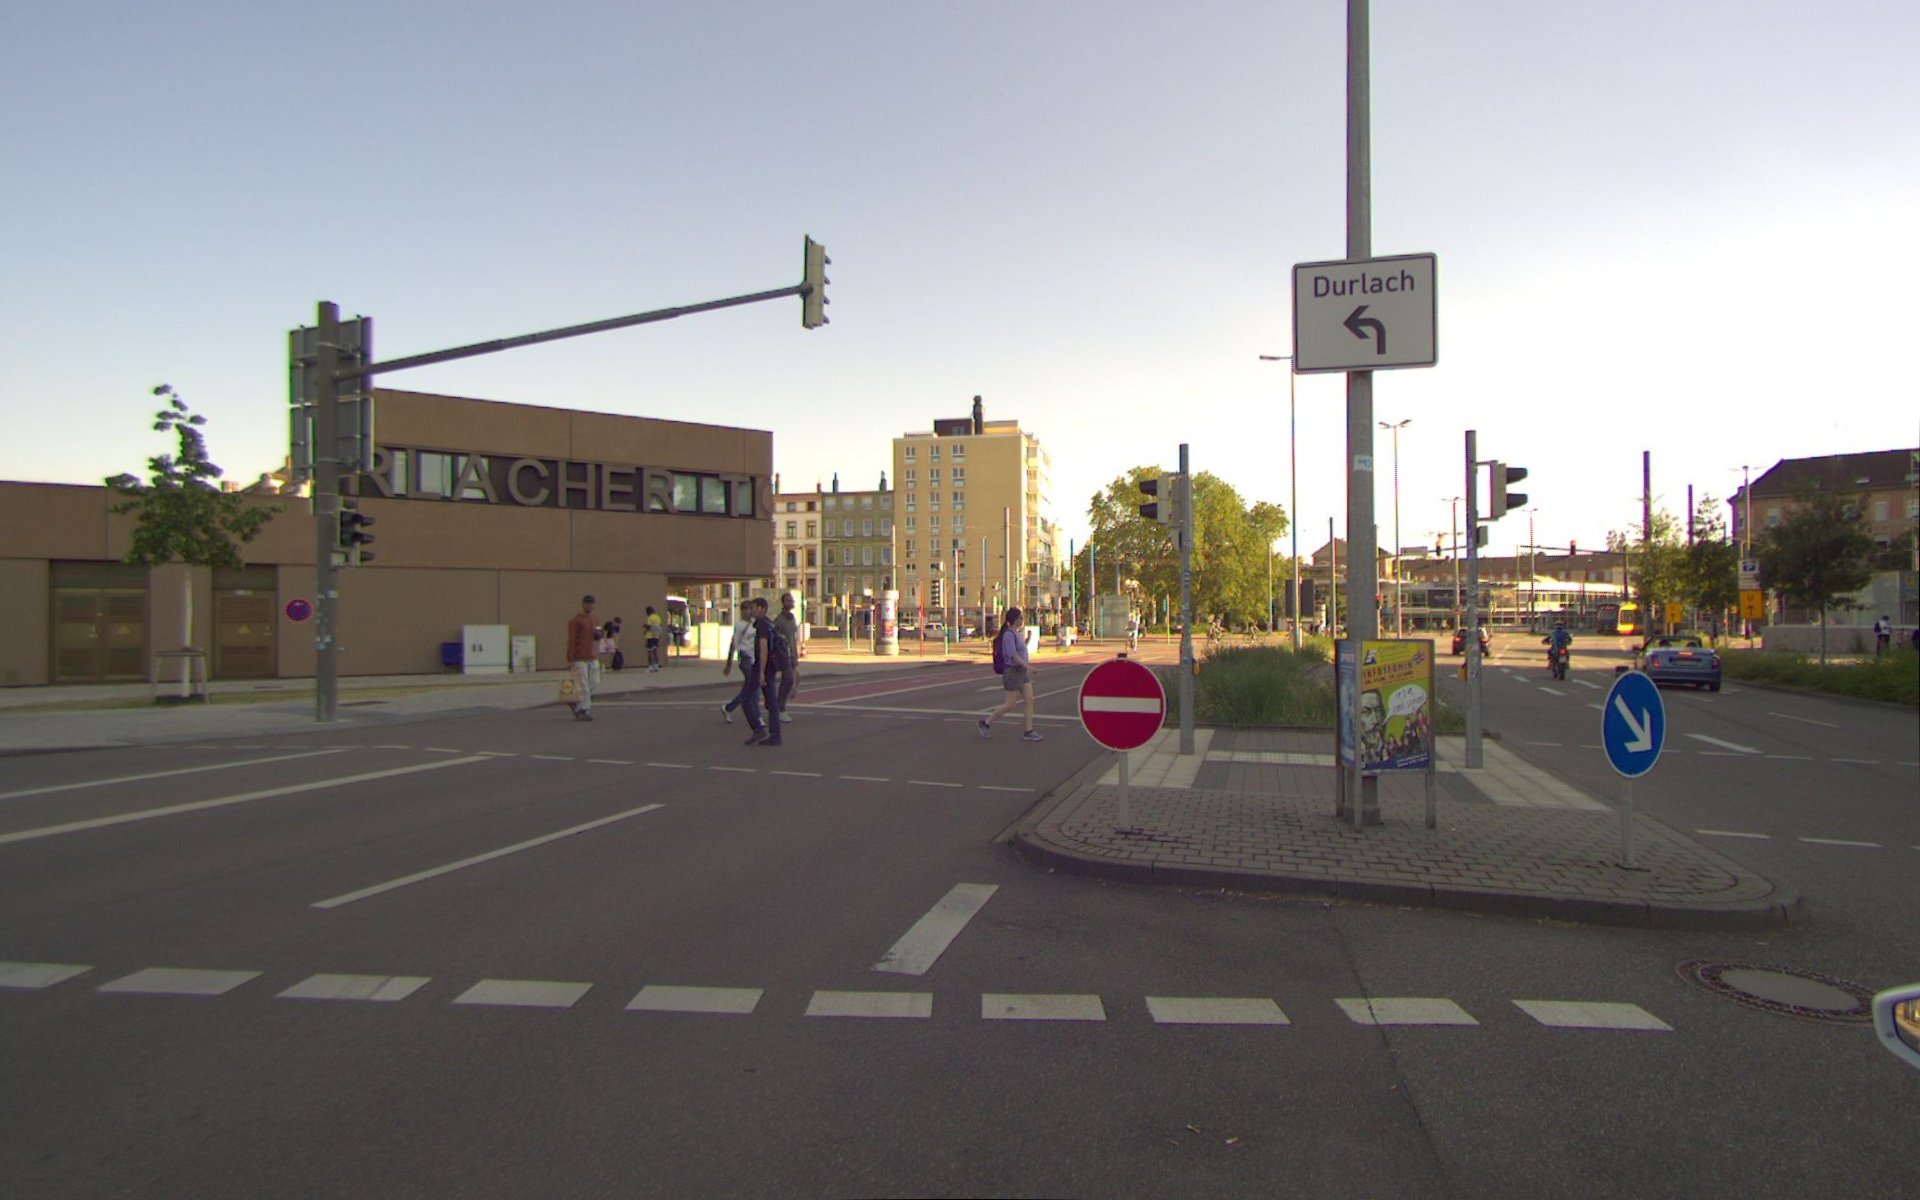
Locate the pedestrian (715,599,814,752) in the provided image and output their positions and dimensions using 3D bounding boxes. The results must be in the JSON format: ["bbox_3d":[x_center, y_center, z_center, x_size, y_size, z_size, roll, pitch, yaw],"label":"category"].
[{"bbox_3d":[-2.273,0.851,11.723,0.882,1.707,0.748,-1,-1,20],"label":"pedestrian"}]

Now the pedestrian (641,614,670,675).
[{"bbox_3d":[-8.733,1.264,28.806,0.630,1.711,0.547,1,1,43],"label":"pedestrian"}]

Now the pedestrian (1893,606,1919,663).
[{"bbox_3d":[29.268,1.043,30.686,0.793,1.680,0.790,-3,-1,21],"label":"pedestrian"}]

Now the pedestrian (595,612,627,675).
[{"bbox_3d":[-9.883,1.217,28.444,0.658,1.754,0.729,-1,1,-35],"label":"pedestrian"}]

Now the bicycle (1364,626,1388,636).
[{"bbox_3d":[42.664,3.216,102.996,2.261,0.972,0.859,-2,1,27],"label":"bicycle"}]

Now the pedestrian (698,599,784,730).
[{"bbox_3d":[-3.048,0.880,14.036,0.909,1.764,0.757,-1,-1,20],"label":"pedestrian"}]

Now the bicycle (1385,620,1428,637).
[{"bbox_3d":[46.624,2.973,104.990,3.919,1.713,1.139,0,1,12],"label":"bicycle"}]

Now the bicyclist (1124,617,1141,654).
[{"bbox_3d":[8.650,1.767,50.380,0.727,1.856,1.014,0,-2,18],"label":"bicyclist"}]

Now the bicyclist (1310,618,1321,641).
[{"bbox_3d":[26.301,2.185,74.321,0.638,1.713,0.860,0,1,11],"label":"bicyclist"}]

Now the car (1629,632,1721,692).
[{"bbox_3d":[19.697,1.648,27.801,1.775,1.463,3.969,1,-1,32],"label":"car"}]

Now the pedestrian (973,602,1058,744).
[{"bbox_3d":[0.728,0.919,13.008,0.909,1.764,0.757,-1,-1,20],"label":"pedestrian"}]

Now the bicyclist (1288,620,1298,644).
[{"bbox_3d":[25.295,2.422,76.230,0.638,1.713,0.860,0,1,13],"label":"bicyclist"}]

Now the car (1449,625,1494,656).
[{"bbox_3d":[26.040,2.008,51.072,1.774,1.463,3.970,1,-1,30],"label":"car"}]

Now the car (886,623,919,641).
[{"bbox_3d":[-6.239,3.420,108.617,2.061,1.742,3.980,-1,1,-28],"label":"car"}]

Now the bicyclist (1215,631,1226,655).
[{"bbox_3d":[19.600,3.221,75.531,0.732,1.713,0.860,0,1,9],"label":"bicyclist"}]

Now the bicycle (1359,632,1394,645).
[{"bbox_3d":[30.247,2.795,72.914,2.257,0.918,0.860,0,1,15],"label":"bicycle"}]

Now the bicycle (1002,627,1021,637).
[{"bbox_3d":[5.838,3.637,114.302,2.007,1.105,0.778,-1,-1,11],"label":"bicycle"}]

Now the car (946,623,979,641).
[{"bbox_3d":[0.261,3.399,107.049,1.818,1.772,3.967,-1,1,-31],"label":"car"}]

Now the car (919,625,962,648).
[{"bbox_3d":[-1.782,3.401,94.257,3.670,2.041,2.001,0,1,11],"label":"car"}]

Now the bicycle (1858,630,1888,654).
[{"bbox_3d":[40.726,1.873,44.809,0.780,1.052,1.955,-3,-4,38],"label":"bicycle"}]

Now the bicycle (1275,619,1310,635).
[{"bbox_3d":[25.207,2.027,76.246,2.450,1.148,0.860,0,1,13],"label":"bicycle"}]

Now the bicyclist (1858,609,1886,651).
[{"bbox_3d":[40.680,1.341,44.794,0.777,1.809,0.890,-3,-3,38],"label":"bicyclist"}]

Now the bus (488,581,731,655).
[{"bbox_3d":[-18.792,1.164,54.644,12.063,3.359,3.221,3,-6,-34],"label":"bus"}]

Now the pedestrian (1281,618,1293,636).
[{"bbox_3d":[34.273,2.822,105.264,0.974,1.841,0.918,0,1,29],"label":"pedestrian"}]

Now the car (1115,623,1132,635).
[{"bbox_3d":[20.979,3.744,128.704,1.815,1.471,4.002,0,-1,14],"label":"car"}]

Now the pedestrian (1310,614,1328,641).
[{"bbox_3d":[22.847,1.770,63.973,0.814,1.694,0.698,0,-1,-9],"label":"pedestrian"}]

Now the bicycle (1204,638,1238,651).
[{"bbox_3d":[19.605,3.362,75.527,2.450,0.886,0.860,0,1,9],"label":"bicycle"}]

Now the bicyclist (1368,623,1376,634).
[{"bbox_3d":[42.346,2.934,103.148,0.701,1.158,0.836,0,1,27],"label":"bicyclist"}]

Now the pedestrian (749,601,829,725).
[{"bbox_3d":[-2.512,0.912,14.812,0.909,1.764,0.757,-1,-1,20],"label":"pedestrian"}]

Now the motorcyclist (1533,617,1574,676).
[{"bbox_3d":[18.193,1.414,30.787,1.080,1.744,0.934,0,-1,32],"label":"motorcyclist"}]

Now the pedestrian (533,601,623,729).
[{"bbox_3d":[-5.456,0.912,14.359,0.909,1.764,0.787,-1,-1,20],"label":"pedestrian"}]

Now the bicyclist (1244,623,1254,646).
[{"bbox_3d":[22.047,2.629,76.604,0.638,1.713,0.860,0,1,19],"label":"bicyclist"}]

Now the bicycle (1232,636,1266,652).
[{"bbox_3d":[22.019,3.323,76.627,2.452,1.148,0.860,0,1,19],"label":"bicycle"}]

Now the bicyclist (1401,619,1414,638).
[{"bbox_3d":[46.778,2.991,104.945,1.052,1.926,1.123,0,1,12],"label":"bicyclist"}]

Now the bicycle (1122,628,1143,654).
[{"bbox_3d":[8.677,2.055,50.454,0.727,1.271,2.557,0,-2,18],"label":"bicycle"}]

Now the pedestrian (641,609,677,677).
[{"bbox_3d":[-8.395,1.183,27.996,0.706,1.860,0.638,0,1,30],"label":"pedestrian"}]

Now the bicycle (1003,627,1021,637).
[{"bbox_3d":[5.956,3.628,115.144,2.007,1.105,0.778,-1,-1,11],"label":"bicycle"}]

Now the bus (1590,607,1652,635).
[{"bbox_3d":[70.006,2.215,106.268,9.486,2.921,2.338,1,-2,-36],"label":"bus"}]

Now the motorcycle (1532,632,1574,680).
[{"bbox_3d":[18.163,1.680,30.753,1.080,1.395,2.647,0,-1,31],"label":"motorcycle"}]

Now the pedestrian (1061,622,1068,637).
[{"bbox_3d":[12.079,3.446,116.106,0.762,1.698,0.783,0,-1,13],"label":"pedestrian"}]

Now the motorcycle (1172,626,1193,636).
[{"bbox_3d":[24.409,3.403,110.223,2.246,1.068,0.687,0,1,18],"label":"motorcycle"}]

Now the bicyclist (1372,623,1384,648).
[{"bbox_3d":[30.327,2.569,72.892,0.638,1.713,0.860,0,1,15],"label":"bicyclist"}]

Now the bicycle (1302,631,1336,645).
[{"bbox_3d":[26.516,2.806,74.297,2.257,0.918,0.860,0,1,11],"label":"bicycle"}]

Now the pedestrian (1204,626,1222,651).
[{"bbox_3d":[16.993,2.592,67.442,1.074,1.628,0.699,0,1,20],"label":"pedestrian"}]
